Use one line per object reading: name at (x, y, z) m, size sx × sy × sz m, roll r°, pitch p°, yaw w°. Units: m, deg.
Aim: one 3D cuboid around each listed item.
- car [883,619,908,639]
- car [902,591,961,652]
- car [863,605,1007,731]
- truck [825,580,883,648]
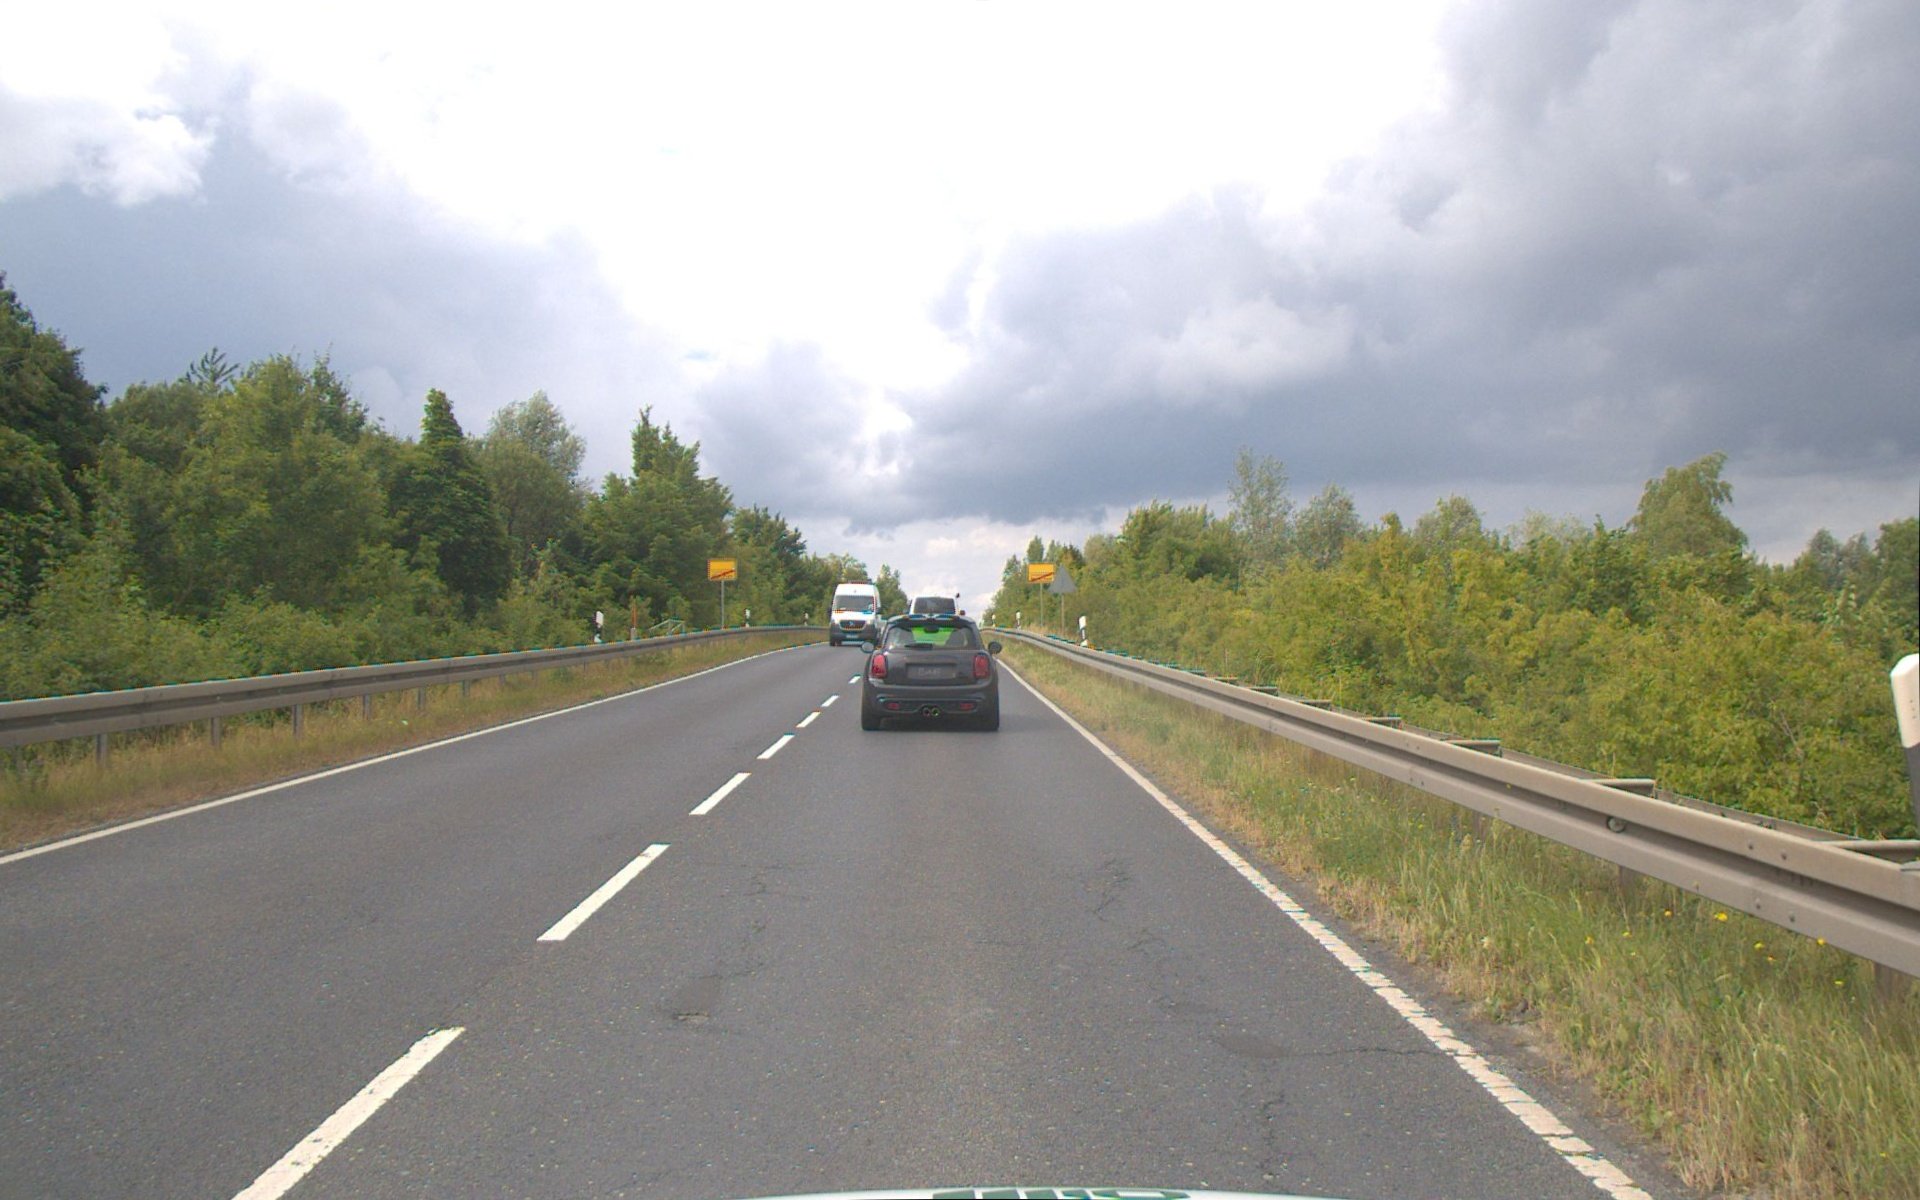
car at (-5.125, 2.318, 132.301) m, size 1.798 × 1.445 × 3.999 m, roll 1°, pitch -3°, yaw 0°
car at (-0.977, 0.730, 57.357) m, size 1.981 × 2.049 × 3.999 m, roll 0°, pitch 0°, yaw -1°
car at (-0.351, 0.836, 21.809) m, size 1.697 × 1.481 × 3.998 m, roll 1°, pitch -1°, yaw -2°
truck at (-4.518, 0.582, 71.626) m, size 2.022 × 2.790 × 7.007 m, roll 0°, pitch 0°, yaw 0°
